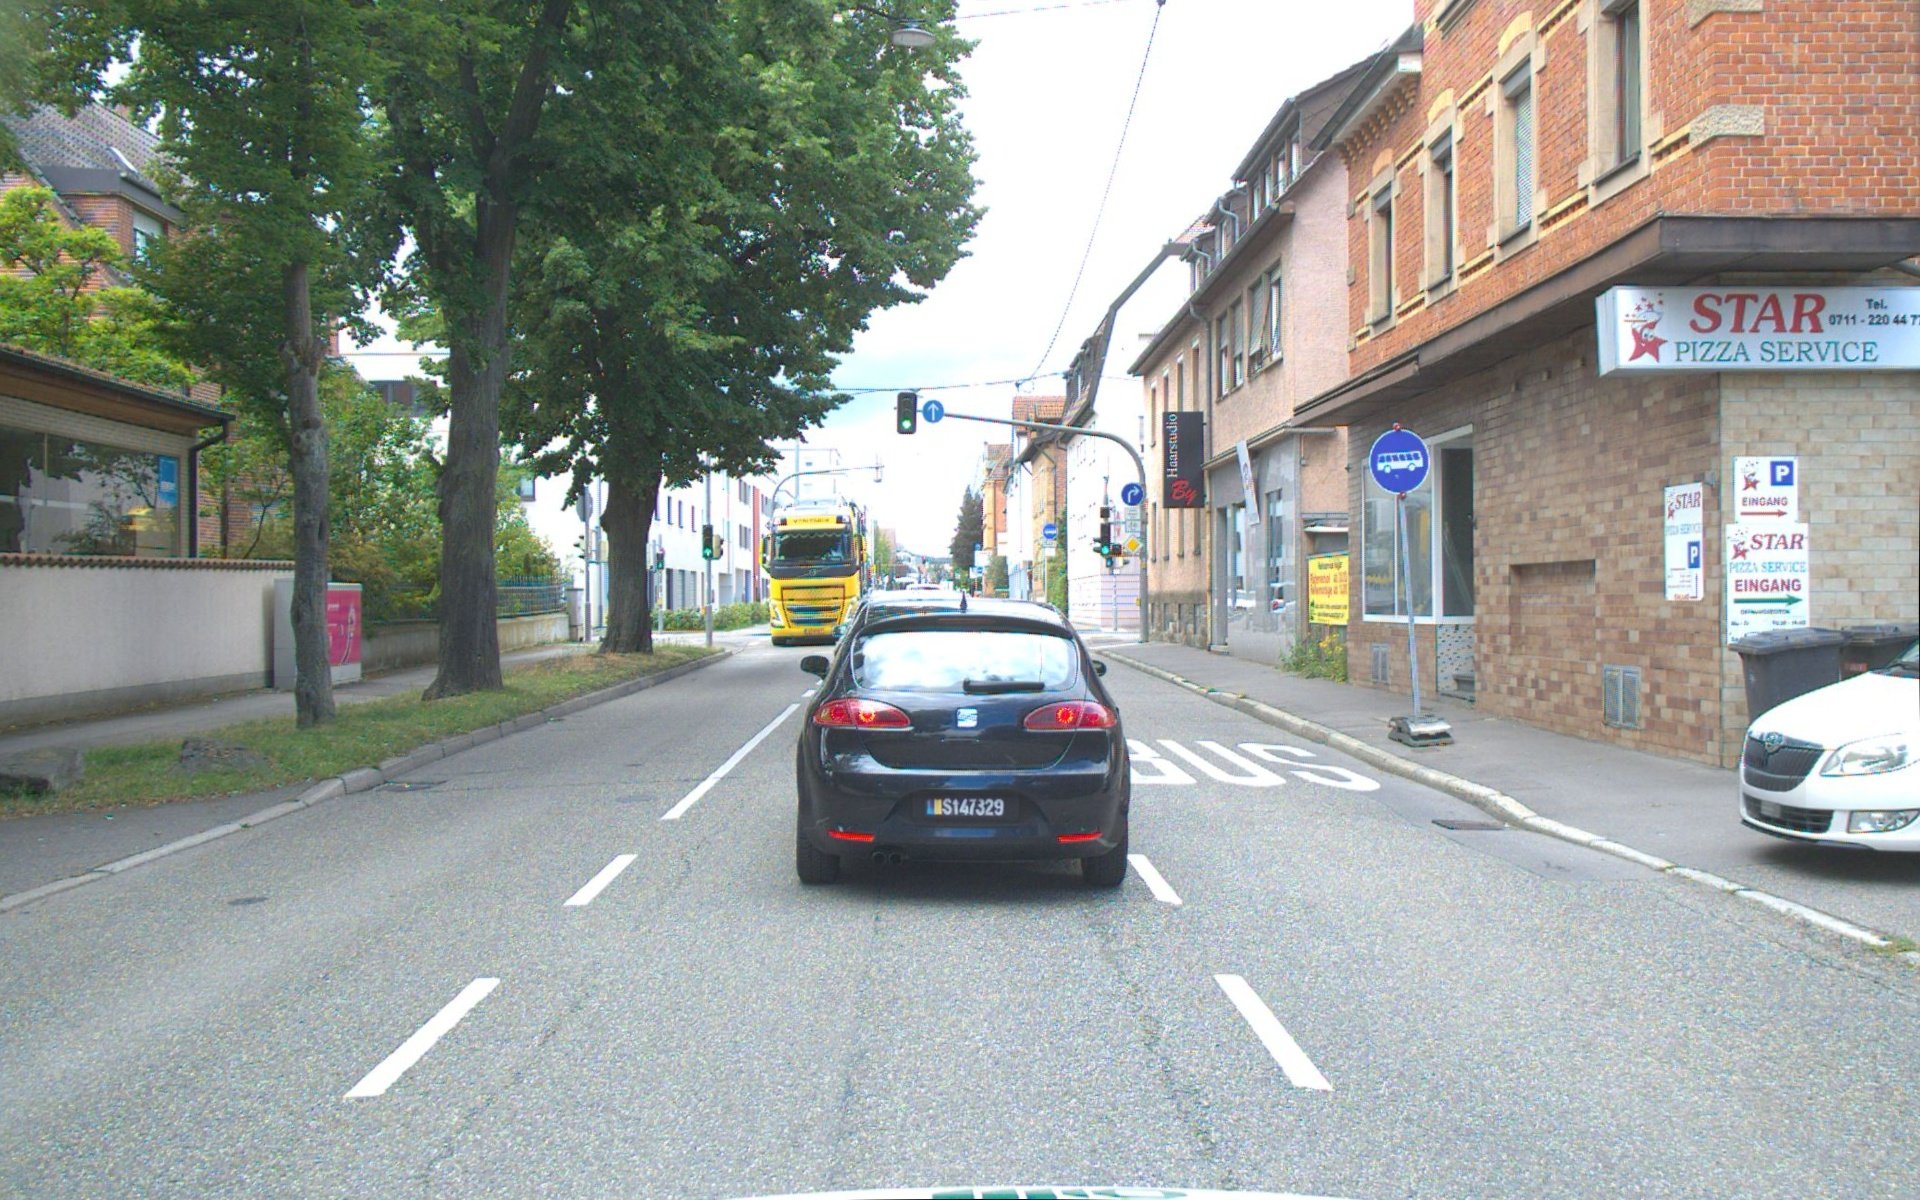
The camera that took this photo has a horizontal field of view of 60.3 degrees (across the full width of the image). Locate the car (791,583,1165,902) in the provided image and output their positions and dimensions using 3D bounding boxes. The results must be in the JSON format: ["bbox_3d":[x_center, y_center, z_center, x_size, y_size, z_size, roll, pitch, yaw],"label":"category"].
[{"bbox_3d":[0.044,0.668,9.683,1.723,1.467,3.999,1,0,-1],"label":"car"}]

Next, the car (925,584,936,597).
[{"bbox_3d":[-4.129,-1.352,230.111,1.500,1.722,3.692,-1,0,-2],"label":"car"}]

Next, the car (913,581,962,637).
[{"bbox_3d":[-0.752,0.277,53.658,1.500,1.723,3.692,1,0,-2],"label":"car"}]

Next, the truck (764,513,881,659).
[{"bbox_3d":[-3.825,-0.367,47.681,2.786,3.848,7.668,1,0,-1],"label":"truck"}]

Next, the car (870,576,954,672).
[{"bbox_3d":[-0.915,0.447,31.798,1.500,1.723,3.692,1,0,-2],"label":"car"}]

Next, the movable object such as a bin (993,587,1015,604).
[{"bbox_3d":[3.750,-0.378,141.326,1.781,1.462,1.992,1,0,0],"label":"movable object such as a bin"}]

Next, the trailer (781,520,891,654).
[{"bbox_3d":[-3.921,-0.357,55.510,2.800,3.875,14.387,1,0,-1],"label":"trailer"}]

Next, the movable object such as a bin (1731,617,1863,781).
[{"bbox_3d":[6.036,0.699,11.954,0.594,1.120,0.622,-2,0,-1],"label":"movable object such as a bin"}]

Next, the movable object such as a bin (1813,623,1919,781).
[{"bbox_3d":[6.745,0.725,12.013,0.684,1.077,0.723,-2,0,-1],"label":"movable object such as a bin"}]

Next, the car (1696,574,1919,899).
[{"bbox_3d":[6.324,0.543,8.911,3.949,1.495,1.600,-5,0,-3],"label":"car"}]

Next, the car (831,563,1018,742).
[{"bbox_3d":[-0.394,0.514,18.137,1.805,1.723,3.999,1,0,-2],"label":"car"}]
